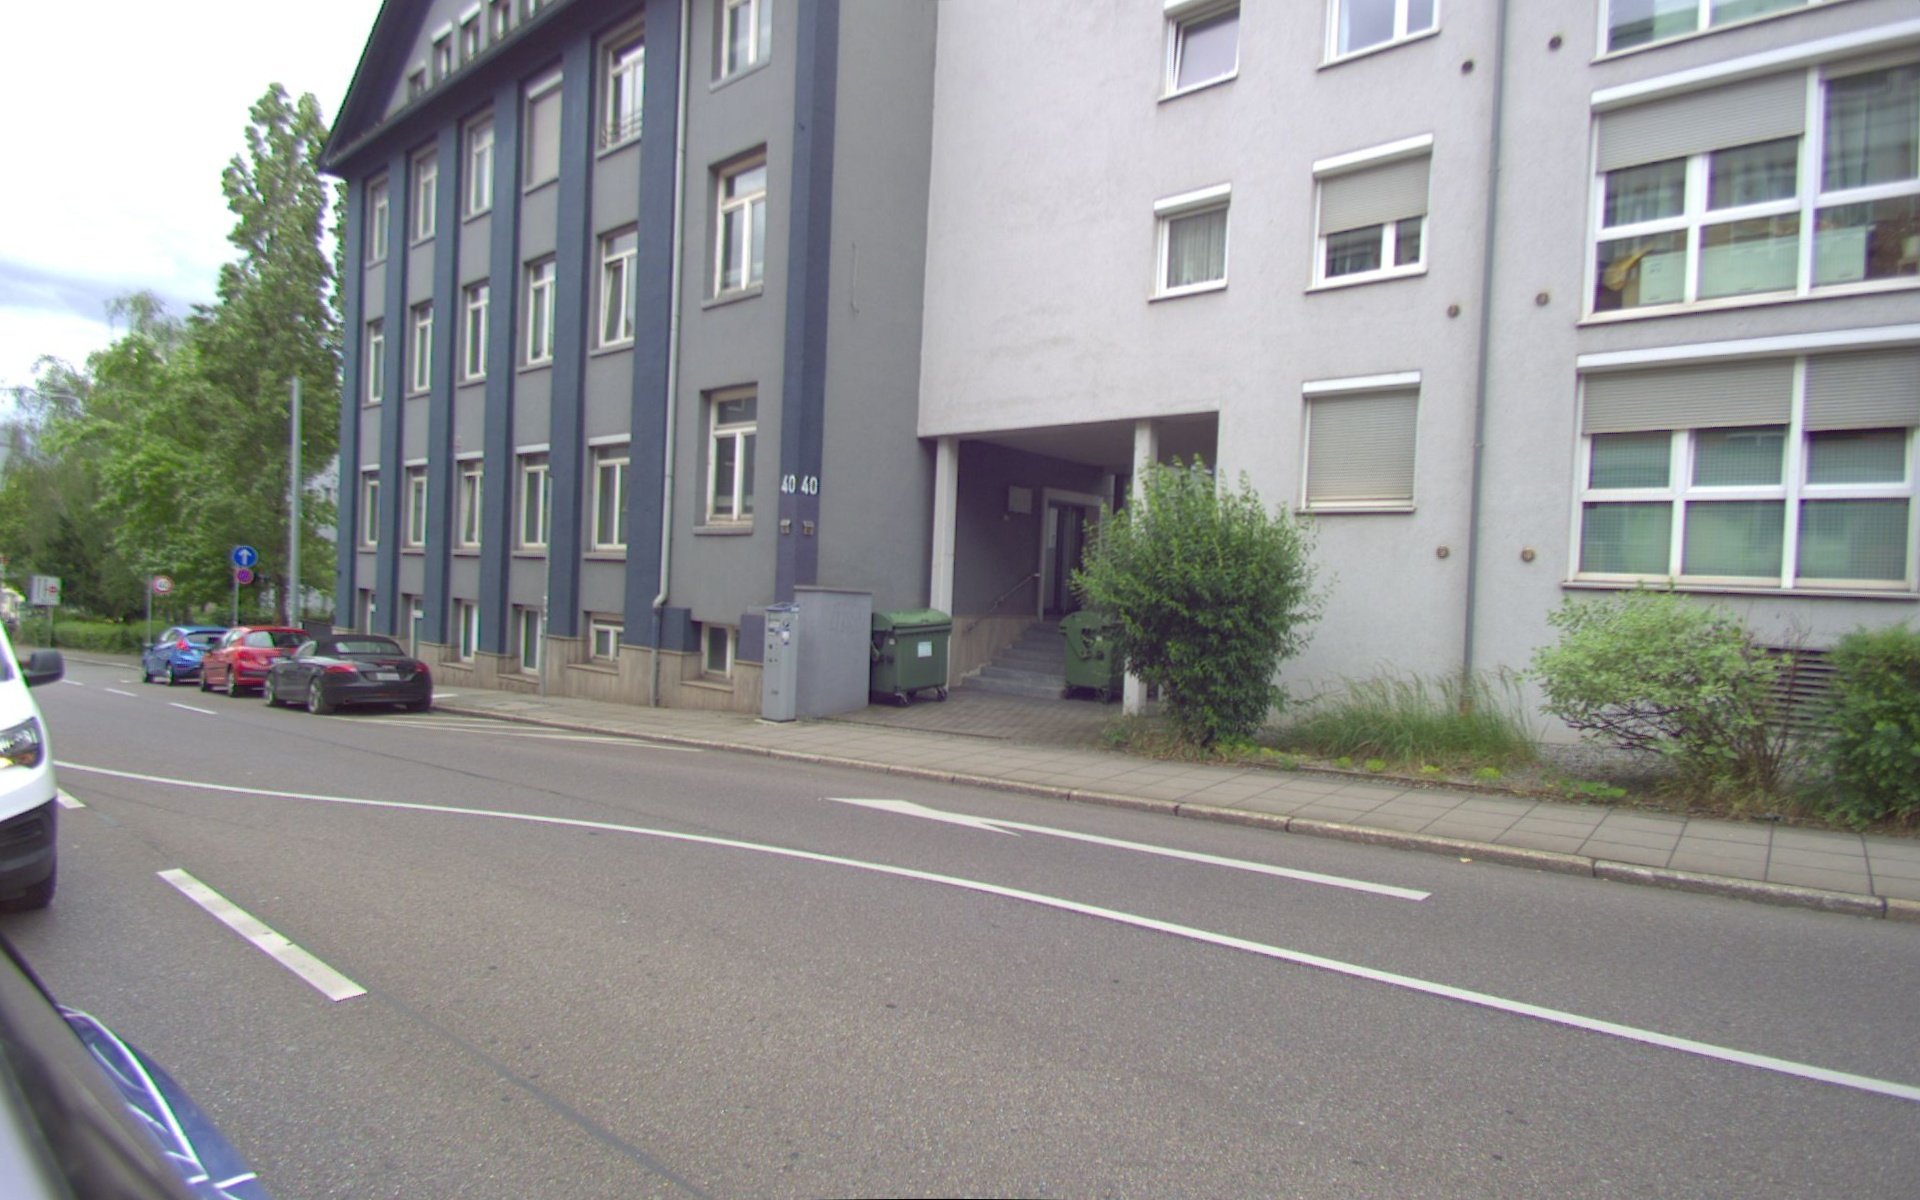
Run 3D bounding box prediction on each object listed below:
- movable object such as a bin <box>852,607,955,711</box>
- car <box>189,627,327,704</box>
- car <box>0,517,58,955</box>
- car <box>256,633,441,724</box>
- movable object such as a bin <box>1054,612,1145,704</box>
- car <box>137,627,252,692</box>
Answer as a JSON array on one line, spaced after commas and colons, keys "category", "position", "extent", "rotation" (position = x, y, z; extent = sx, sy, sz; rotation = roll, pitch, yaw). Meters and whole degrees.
[{"category": "movable object such as a bin", "position": [-0.869, 0.880, 15.732], "extent": [1.039, 1.518, 1.213], "rotation": [-1, 0, 41]}, {"category": "car", "position": [-15.328, 1.359, 22.041], "extent": [3.727, 1.460, 1.623], "rotation": [-1, 0, 41]}, {"category": "car", "position": [-6.110, 0.613, 5.206], "extent": [3.998, 1.901, 1.716], "rotation": [-1, 0, 41]}, {"category": "car", "position": [-10.979, 1.311, 18.088], "extent": [3.727, 1.403, 1.778], "rotation": [-1, -2, 41]}, {"category": "movable object such as a bin", "position": [2.276, 0.915, 16.535], "extent": [1.078, 1.427, 1.026], "rotation": [-1, 0, 41]}, {"category": "car", "position": [-19.433, 1.449, 25.648], "extent": [3.727, 1.460, 1.623], "rotation": [-1, 0, 41]}]
